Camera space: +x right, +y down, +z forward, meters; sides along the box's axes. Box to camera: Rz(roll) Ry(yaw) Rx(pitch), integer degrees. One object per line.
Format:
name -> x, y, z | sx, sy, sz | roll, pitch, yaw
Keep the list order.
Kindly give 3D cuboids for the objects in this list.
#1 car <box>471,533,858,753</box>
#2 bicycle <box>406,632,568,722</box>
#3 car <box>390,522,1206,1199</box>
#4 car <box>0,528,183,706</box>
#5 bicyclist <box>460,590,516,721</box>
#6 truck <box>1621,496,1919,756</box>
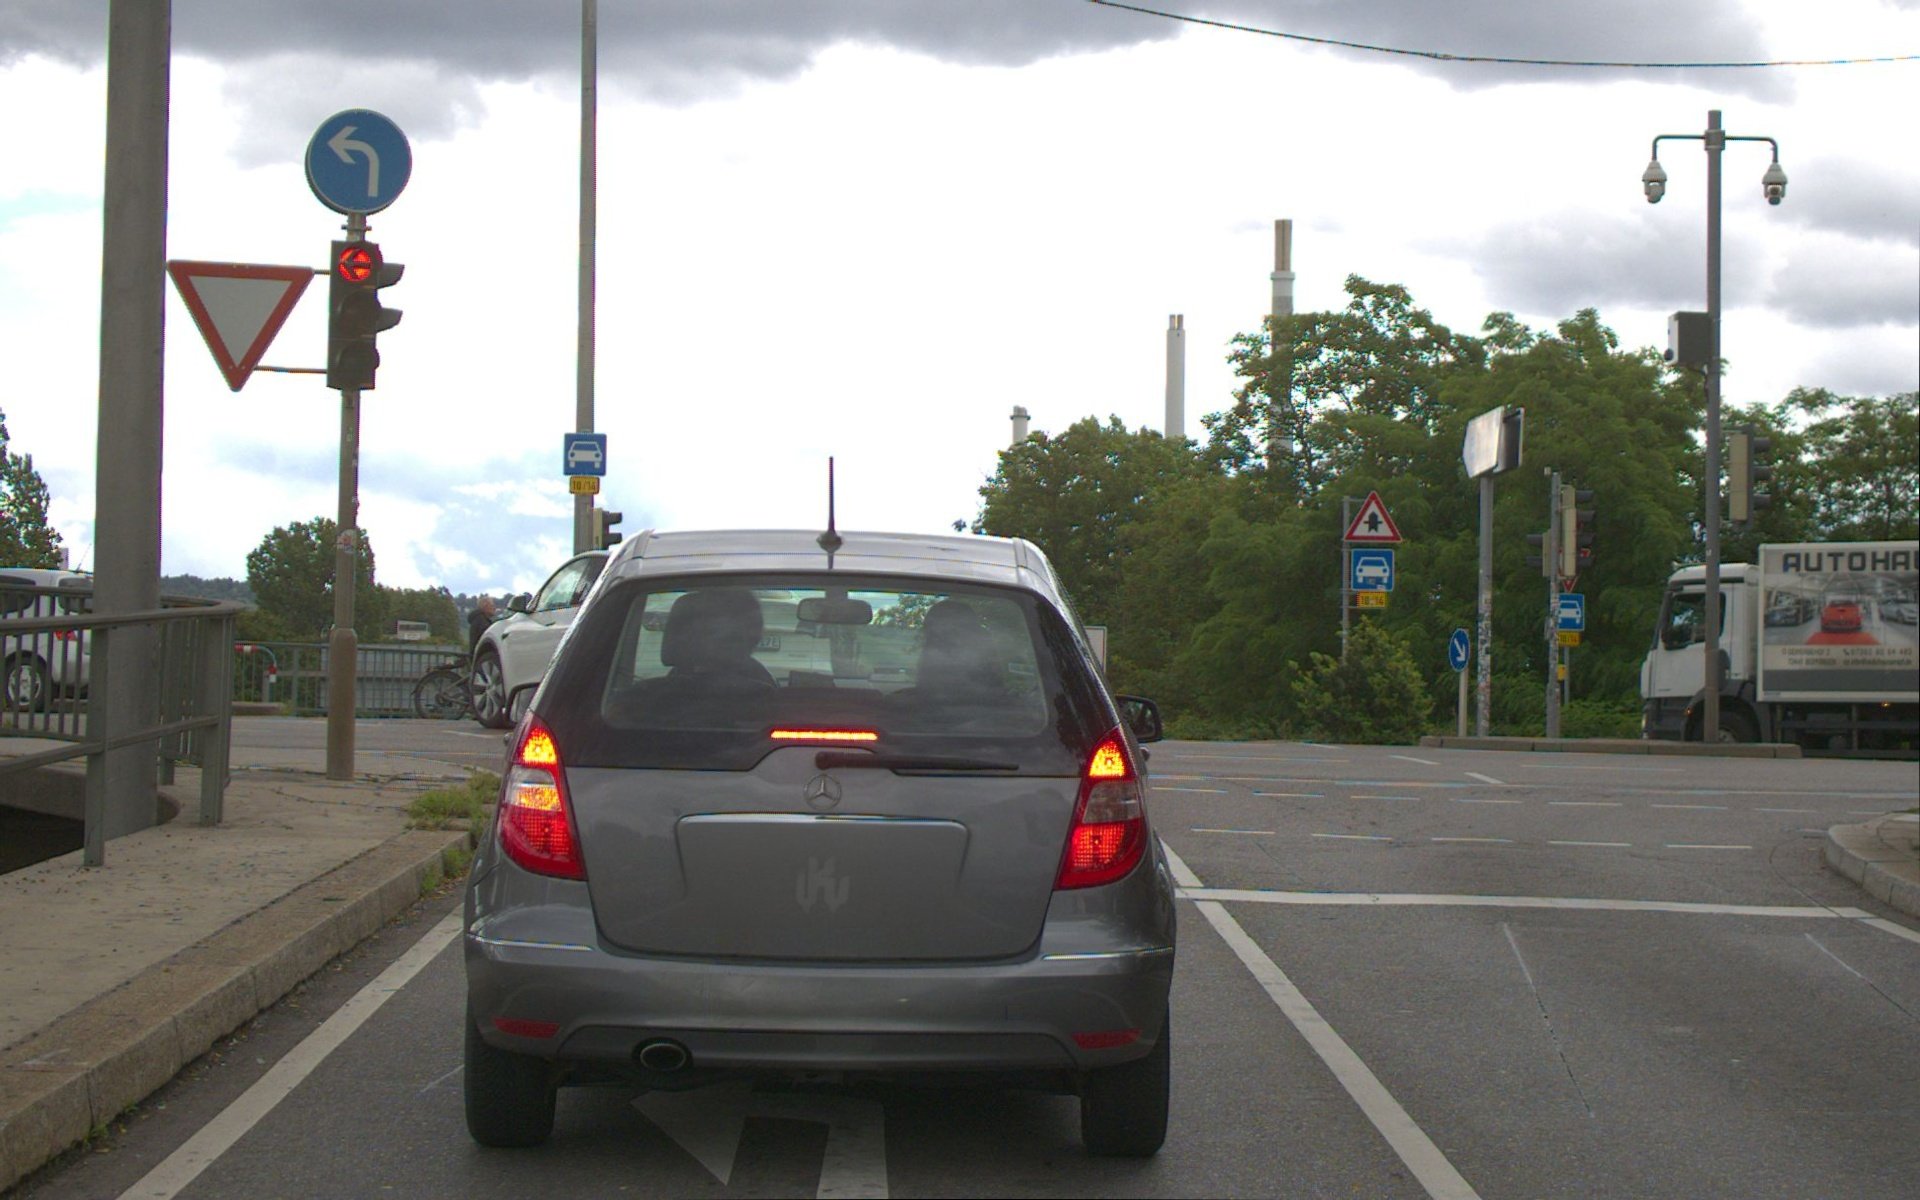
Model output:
car -> -2.621, 0.305, 29.453 | 1.931, 1.711, 4.407 | 0, 1, -24
bicycle -> -6.152, 1.000, 44.671 | 2.032, 1.121, 0.929 | 0, 1, -11
car -> -0.325, 0.583, 9.884 | 1.858, 1.583, 4.000 | 1, 1, 1
car -> -10.124, 0.124, 35.033 | 3.993, 1.711, 1.935 | 1, 1, 27
bicyclist -> -6.138, 0.715, 44.681 | 0.653, 1.668, 0.870 | 1, 1, -11
truck -> 14.444, 0.364, 47.142 | 10.234, 3.506, 2.793 | 1, 1, 34
